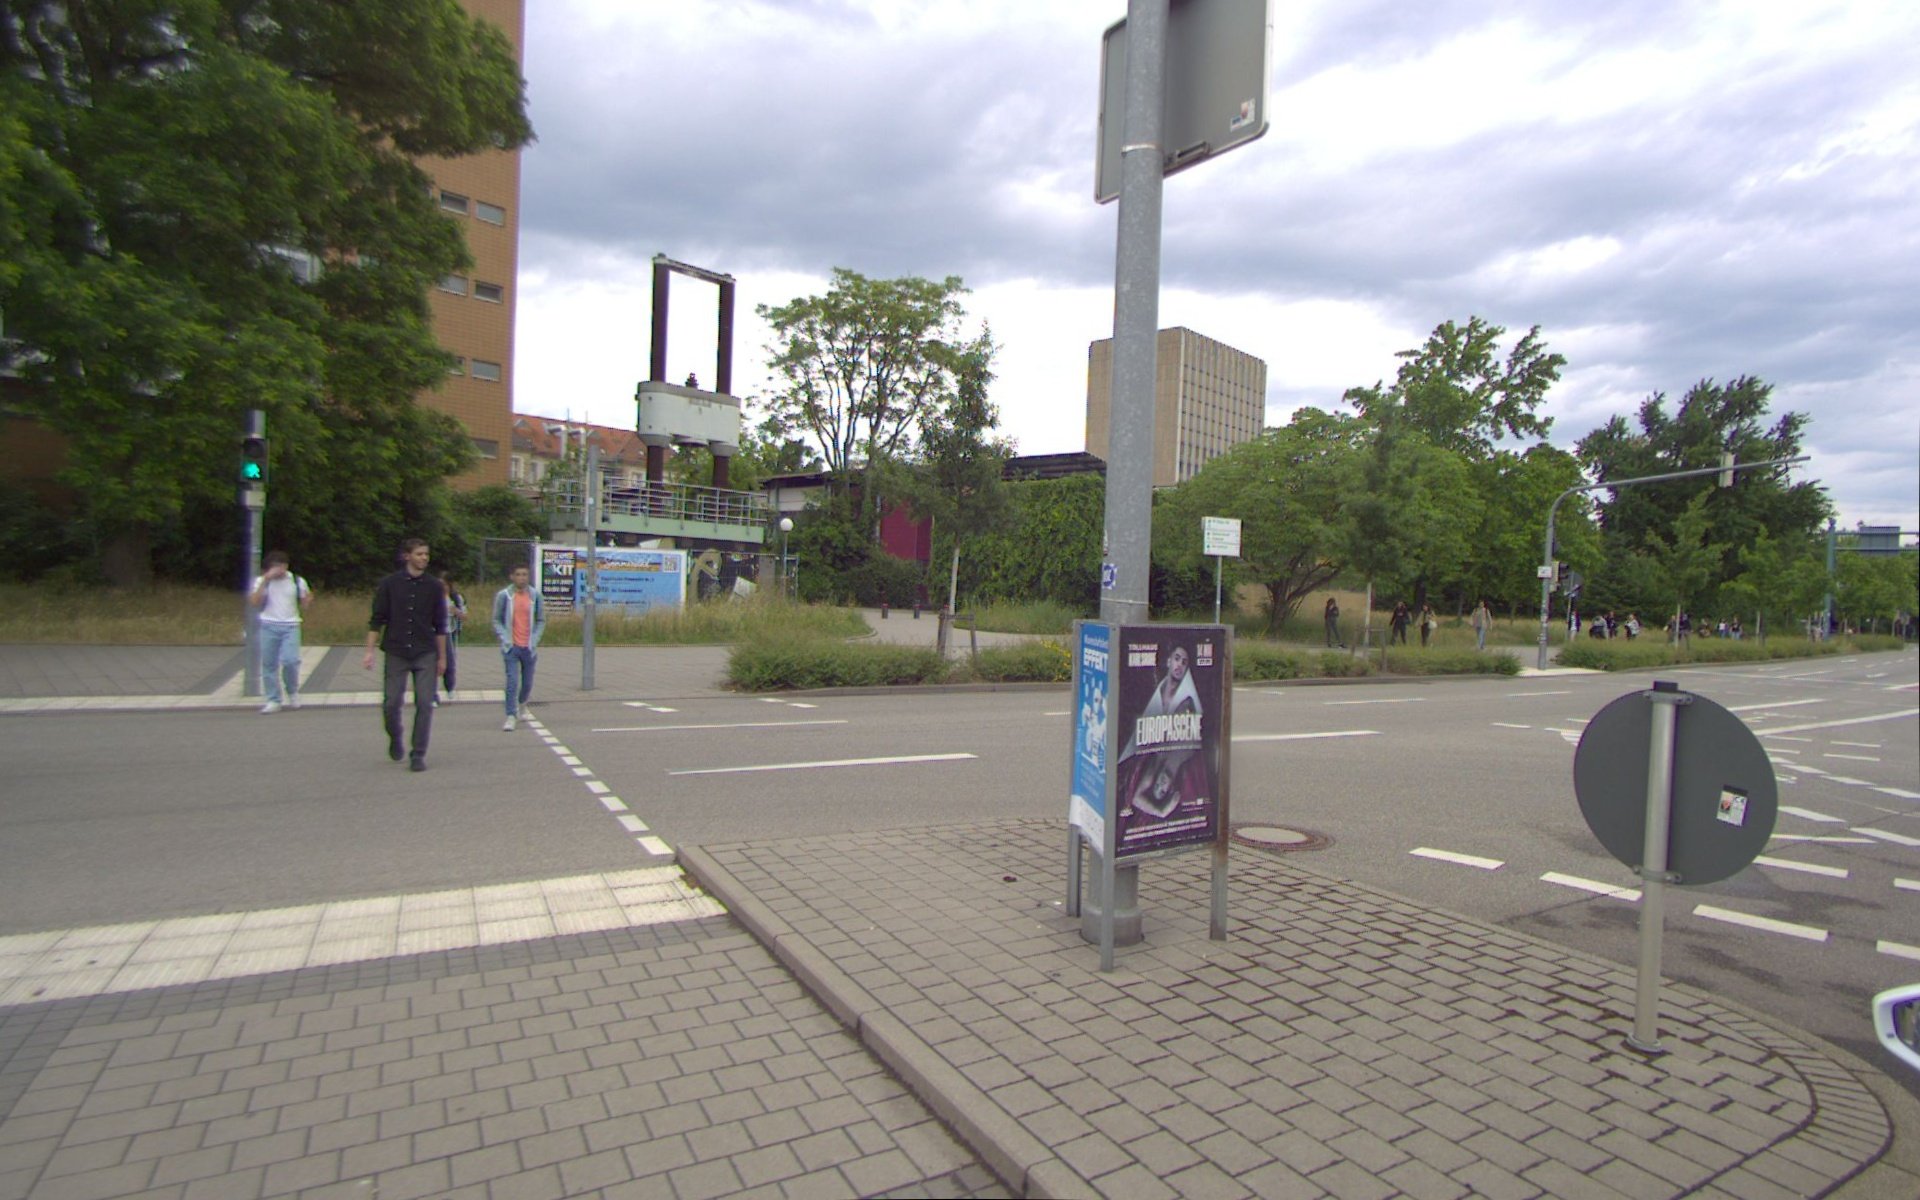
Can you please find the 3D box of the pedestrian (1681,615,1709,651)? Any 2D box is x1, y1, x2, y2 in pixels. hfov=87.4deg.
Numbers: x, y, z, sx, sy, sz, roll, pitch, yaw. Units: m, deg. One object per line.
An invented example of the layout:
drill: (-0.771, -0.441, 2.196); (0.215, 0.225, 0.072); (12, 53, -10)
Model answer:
pedestrian: (37.801, 1.682, 51.671); (1.056, 1.803, 0.910); (1, 1, -41)

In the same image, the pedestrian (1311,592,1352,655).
pedestrian: (12.430, 0.783, 33.603); (1.036, 2.040, 0.750); (2, 1, -33)

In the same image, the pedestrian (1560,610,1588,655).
pedestrian: (26.292, 1.390, 43.005); (0.750, 1.895, 0.709); (2, 1, -36)

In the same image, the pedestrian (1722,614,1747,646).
pedestrian: (45.479, 1.755, 58.971); (1.056, 1.803, 0.910); (1, 1, -41)

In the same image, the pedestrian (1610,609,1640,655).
pedestrian: (30.407, 1.459, 45.926); (1.037, 2.040, 0.749); (2, 1, -36)

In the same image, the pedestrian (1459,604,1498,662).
pedestrian: (18.624, 1.187, 36.091); (1.036, 2.040, 0.750); (2, 1, -33)

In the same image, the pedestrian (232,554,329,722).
pedestrian: (-7.826, 0.423, 11.602); (0.755, 1.867, 0.755); (2, 1, -23)

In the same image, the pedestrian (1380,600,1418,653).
pedestrian: (15.090, 0.918, 34.538); (0.896, 1.788, 0.750); (2, 1, -33)

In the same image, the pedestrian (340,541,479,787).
pedestrian: (-4.491, 0.487, 8.276); (0.854, 1.867, 1.046); (2, 1, -23)

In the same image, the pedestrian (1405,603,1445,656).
pedestrian: (15.736, 0.994, 33.978); (1.036, 1.735, 0.750); (2, 1, -33)

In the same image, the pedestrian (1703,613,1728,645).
pedestrian: (44.869, 1.716, 59.675); (1.056, 1.803, 0.910); (1, 1, -41)

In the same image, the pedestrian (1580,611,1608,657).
pedestrian: (26.695, 1.433, 42.318); (0.750, 1.895, 0.709); (2, 1, -35)

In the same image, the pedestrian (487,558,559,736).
pedestrian: (-4.805, 0.495, 11.065); (0.658, 1.867, 0.891); (2, 1, -23)

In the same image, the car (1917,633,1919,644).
car: (130.671, 5.190, 135.596); (1.857, 1.435, 3.836); (3, 1, 41)

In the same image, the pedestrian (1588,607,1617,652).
pedestrian: (29.713, 1.368, 46.435); (1.037, 2.040, 0.749); (2, 1, -36)

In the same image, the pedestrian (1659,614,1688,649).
pedestrian: (37.205, 1.640, 52.376); (1.056, 1.803, 0.910); (1, 1, -41)

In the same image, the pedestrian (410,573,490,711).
pedestrian: (-6.451, 0.514, 12.747); (0.794, 1.671, 0.839); (2, 1, -23)

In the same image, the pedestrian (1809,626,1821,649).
pedestrian: (77.261, 3.416, 90.775); (0.590, 2.040, 0.663); (2, 1, -35)
